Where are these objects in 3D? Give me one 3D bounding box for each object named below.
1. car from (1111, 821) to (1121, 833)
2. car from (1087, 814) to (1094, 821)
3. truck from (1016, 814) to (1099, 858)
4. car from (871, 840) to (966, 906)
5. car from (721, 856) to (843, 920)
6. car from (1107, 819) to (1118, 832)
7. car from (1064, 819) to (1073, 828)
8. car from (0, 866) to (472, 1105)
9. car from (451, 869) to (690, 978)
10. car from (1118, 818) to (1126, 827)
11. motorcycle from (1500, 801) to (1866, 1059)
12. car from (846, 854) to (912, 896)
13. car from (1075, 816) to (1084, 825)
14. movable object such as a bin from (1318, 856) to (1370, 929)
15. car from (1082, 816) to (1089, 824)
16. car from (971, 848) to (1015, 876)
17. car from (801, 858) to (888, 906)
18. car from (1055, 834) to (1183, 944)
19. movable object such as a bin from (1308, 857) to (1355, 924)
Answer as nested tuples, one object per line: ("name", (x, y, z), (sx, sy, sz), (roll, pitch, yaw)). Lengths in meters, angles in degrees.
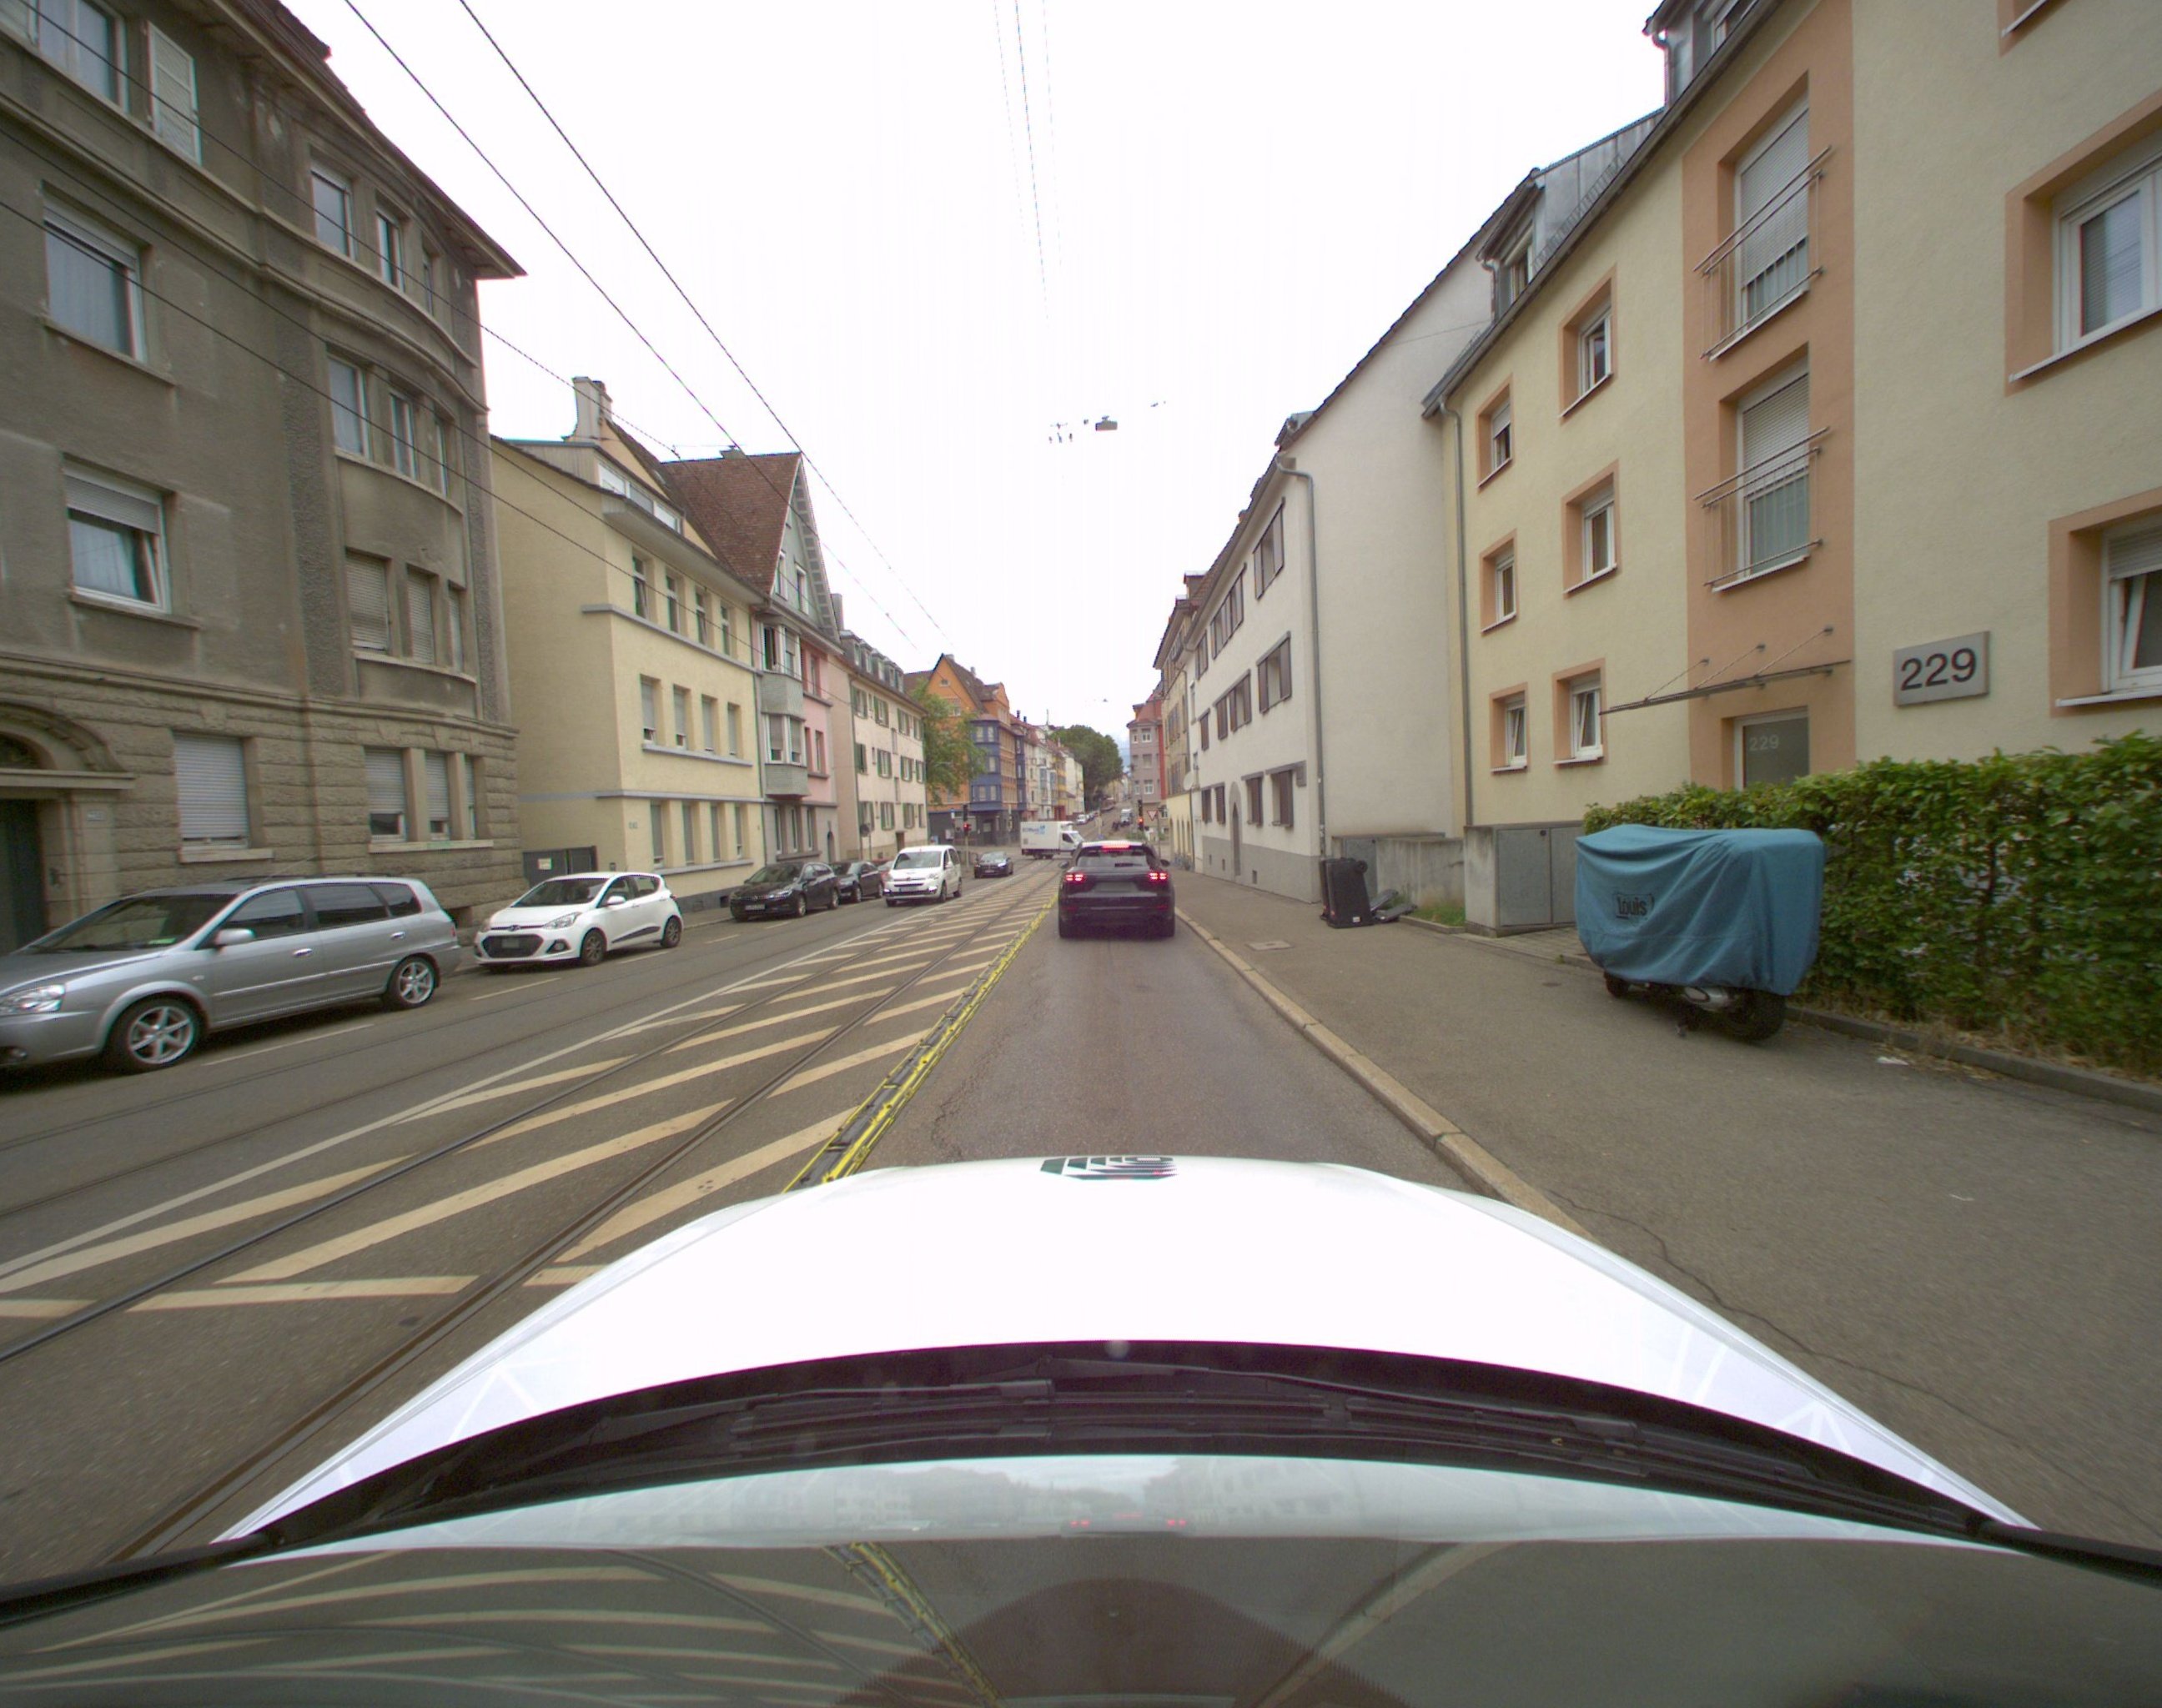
("car", (5.234, -4.021, 120.484), (1.389, 1.722, 3.361), (-2, 1, 2))
("car", (2.181, -8.183, 181.314), (1.389, 1.450, 3.361), (-2, 1, 2))
("truck", (-1.959, -1.455, 67.159), (6.320, 3.370, 2.362), (-2, 1, 28))
("car", (-4.995, 0.512, 25.649), (1.913, 1.818, 4.220), (-2, 1, 2))
("car", (-8.109, 0.844, 22.536), (1.615, 1.473, 4.555), (-3, 0, 0))
("car", (4.377, -3.909, 113.685), (1.389, 1.722, 3.361), (-2, 1, 2))
("car", (-2.123, -5.286, 142.135), (1.389, 1.450, 3.361), (-2, 1, 2))
("car", (-8.609, 1.043, 8.173), (1.615, 1.604, 4.351), (-3, 1, 0))
("car", (-8.497, 1.067, 13.989), (1.615, 1.463, 3.686), (-3, 0, 2))
("car", (7.302, -5.569, 145.645), (1.389, 1.450, 3.361), (-2, 1, 2))
("motorcycle", (4.113, 0.419, 5.954), (0.835, 1.456, 2.554), (-2, 1, 2))
("car", (-8.214, 0.817, 33.451), (1.615, 1.490, 4.047), (-3, 0, 0))
("car", (-0.291, -6.489, 158.149), (1.389, 1.450, 3.361), (-2, 1, 2))
("movable object such as a bin", (4.122, 0.593, 12.787), (0.586, 1.080, 0.692), (-2, 1, 3))
("car", (0.907, -7.165, 171.254), (1.389, 1.450, 3.361), (-2, 1, 2))
("car", (-4.934, 0.417, 46.159), (1.914, 1.424, 4.499), (-2, 1, 1))
("car", (-8.116, 0.913, 28.308), (1.730, 1.410, 4.002), (-2, 1, 1))
("car", (0.649, 0.531, 15.054), (1.986, 1.675, 4.001), (-2, 1, 1))
("movable object such as a bin", (4.224, 0.612, 13.748), (0.608, 1.080, 0.542), (-2, 1, 3))
